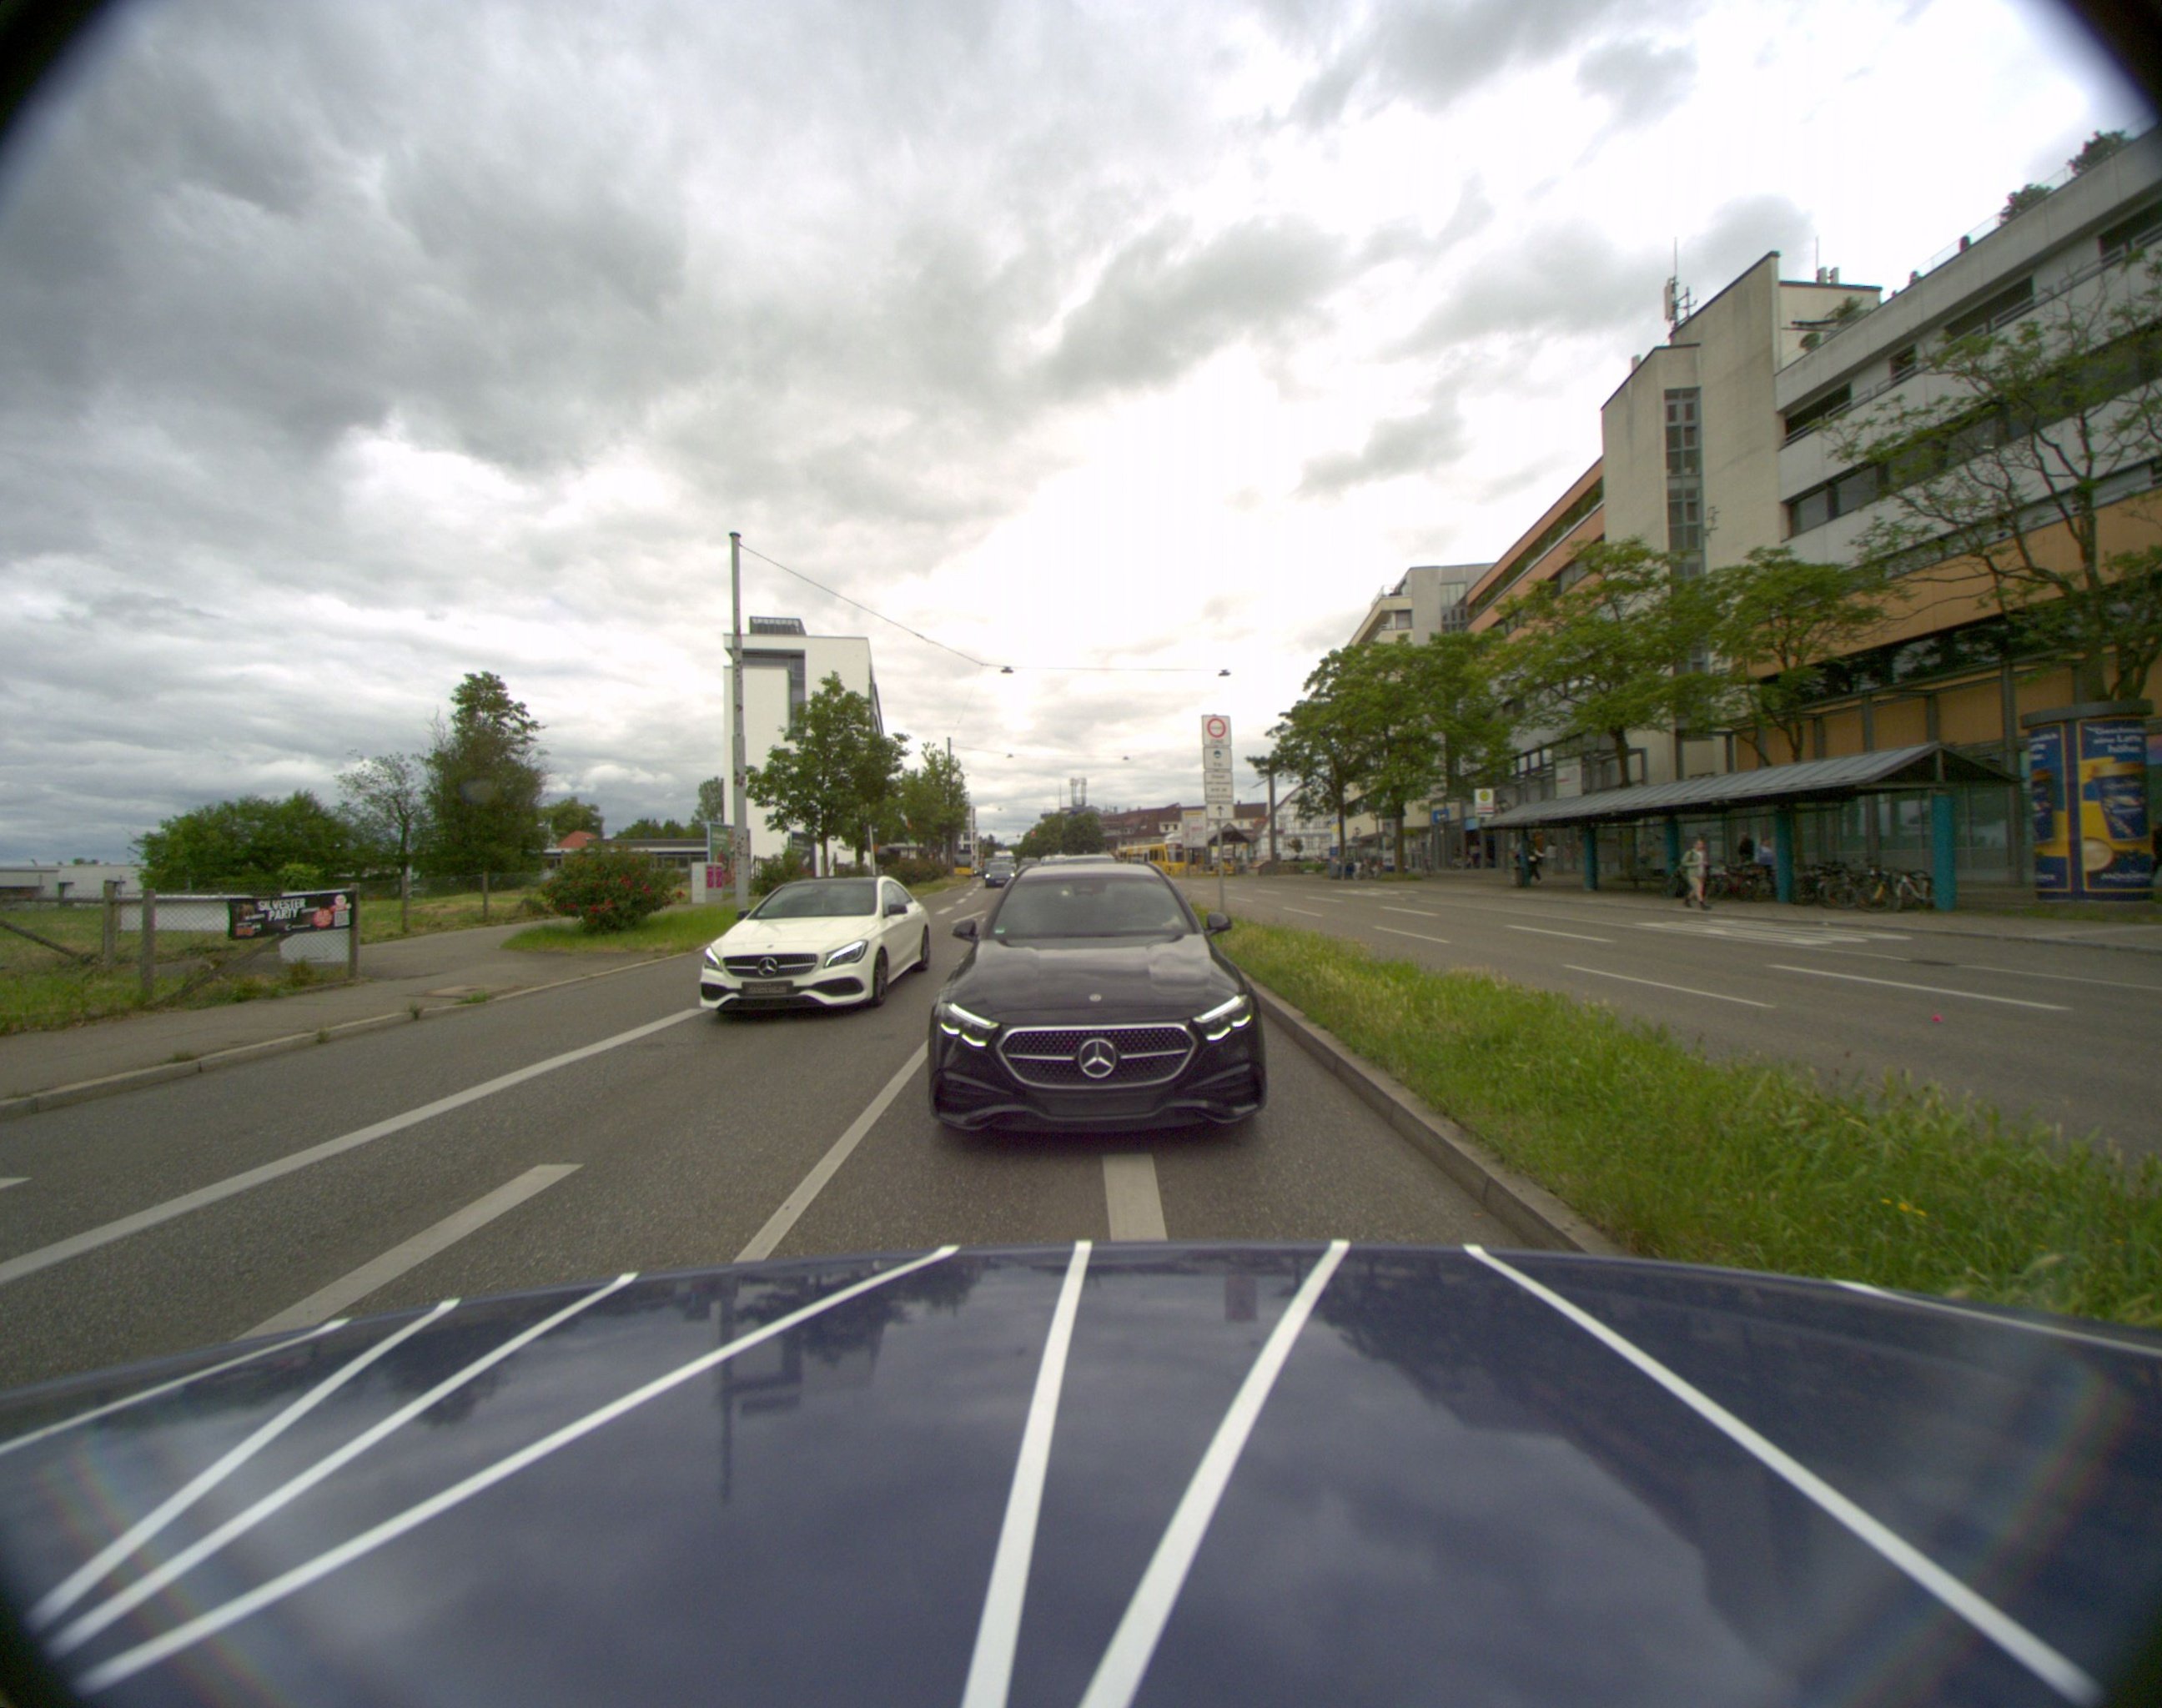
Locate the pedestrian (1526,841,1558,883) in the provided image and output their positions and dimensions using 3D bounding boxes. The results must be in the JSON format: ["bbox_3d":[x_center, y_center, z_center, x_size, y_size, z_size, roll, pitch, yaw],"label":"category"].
[{"bbox_3d":[19.238,0.323,31.711,0.777,1.703,0.706,-3,0,-6],"label":"pedestrian"}]

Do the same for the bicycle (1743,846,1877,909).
[{"bbox_3d":[18.403,0.574,19.187,2.908,1.498,0.805,-1,0,-8],"label":"bicycle"}]

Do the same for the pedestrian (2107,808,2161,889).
[{"bbox_3d":[27.054,-0.143,19.251,0.899,2.002,0.934,-1,1,-5],"label":"pedestrian"}]

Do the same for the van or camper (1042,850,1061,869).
[{"bbox_3d":[-4.409,0.829,111.758,2.000,2.582,6.111,1,-1,-9],"label":"van or camper"}]

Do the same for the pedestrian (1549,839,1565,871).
[{"bbox_3d":[24.062,0.040,38.433,0.633,1.591,0.624,-3,0,31],"label":"pedestrian"}]

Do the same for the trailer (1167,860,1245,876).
[{"bbox_3d":[11.040,1.270,68.845,2.851,1.325,12.115,-1,-1,-12],"label":"trailer"}]

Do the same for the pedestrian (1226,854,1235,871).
[{"bbox_3d":[13.734,0.805,69.802,0.601,1.564,0.620,-1,0,-10],"label":"pedestrian"}]

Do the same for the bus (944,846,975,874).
[{"bbox_3d":[-14.547,0.752,90.395,3.047,3.216,9.329,-1,-1,-12],"label":"bus"}]

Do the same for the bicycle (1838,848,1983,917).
[{"bbox_3d":[18.890,0.628,17.318,2.908,1.498,0.700,-1,0,-8],"label":"bicycle"}]

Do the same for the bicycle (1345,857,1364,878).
[{"bbox_3d":[15.335,0.732,42.590,0.603,1.154,1.969,-1,-1,32],"label":"bicycle"}]

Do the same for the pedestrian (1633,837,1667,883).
[{"bbox_3d":[21.799,0.227,29.129,0.774,1.706,0.787,-3,0,17],"label":"pedestrian"}]

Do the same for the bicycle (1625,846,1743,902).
[{"bbox_3d":[17.960,0.577,22.643,2.908,1.498,0.972,-3,0,-8],"label":"bicycle"}]

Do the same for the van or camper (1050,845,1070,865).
[{"bbox_3d":[-2.904,0.157,103.486,2.039,2.582,6.112,1,-1,-7],"label":"van or camper"}]

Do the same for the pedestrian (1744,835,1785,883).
[{"bbox_3d":[23.165,0.169,25.764,0.668,1.574,0.706,-3,0,-6],"label":"pedestrian"}]

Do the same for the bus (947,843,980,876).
[{"bbox_3d":[-12.657,0.596,81.156,2.993,3.222,9.856,-1,-1,-12],"label":"bus"}]

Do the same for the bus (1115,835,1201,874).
[{"bbox_3d":[8.010,0.172,84.306,3.891,3.836,19.324,-1,-1,-12],"label":"bus"}]

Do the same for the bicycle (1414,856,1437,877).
[{"bbox_3d":[19.155,0.682,42.253,0.672,1.154,2.023,-1,-1,39],"label":"bicycle"}]

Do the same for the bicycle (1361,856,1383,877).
[{"bbox_3d":[16.445,0.705,42.939,0.604,1.154,1.966,-1,-1,4],"label":"bicycle"}]

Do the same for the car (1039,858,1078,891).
[{"bbox_3d":[-1.065,0.949,37.450,1.735,1.474,4.369,-2,0,0],"label":"car"}]

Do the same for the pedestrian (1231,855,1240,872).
[{"bbox_3d":[14.380,0.867,70.668,0.601,1.564,0.620,-1,0,-10],"label":"pedestrian"}]

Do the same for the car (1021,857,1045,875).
[{"bbox_3d":[-4.236,1.062,67.648,1.735,1.544,4.369,-2,0,0],"label":"car"}]

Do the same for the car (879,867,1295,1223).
[{"bbox_3d":[-0.031,0.942,6.001,1.873,1.542,4.773,-4,-1,-2],"label":"car"}]

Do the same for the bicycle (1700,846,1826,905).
[{"bbox_3d":[18.256,0.553,20.357,2.908,1.498,0.811,-1,0,-7],"label":"bicycle"}]

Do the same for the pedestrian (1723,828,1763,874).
[{"bbox_3d":[25.534,-0.100,29.308,0.772,1.706,0.789,-3,0,-8],"label":"pedestrian"}]

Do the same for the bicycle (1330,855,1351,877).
[{"bbox_3d":[14.790,0.667,43.288,0.603,1.154,1.969,-3,-1,33],"label":"bicycle"}]

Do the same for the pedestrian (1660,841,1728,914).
[{"bbox_3d":[15.976,0.594,19.835,0.705,1.812,1.213,-3,1,-3],"label":"pedestrian"}]

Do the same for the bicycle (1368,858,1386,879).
[{"bbox_3d":[16.164,0.790,41.499,0.603,1.154,1.693,-1,-1,31],"label":"bicycle"}]

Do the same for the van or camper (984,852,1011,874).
[{"bbox_3d":[-7.465,0.811,68.122,1.809,1.867,4.849,-2,0,0],"label":"van or camper"}]

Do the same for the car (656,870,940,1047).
[{"bbox_3d":[-3.107,1.037,9.564,1.873,1.496,4.772,-2,0,-2],"label":"car"}]

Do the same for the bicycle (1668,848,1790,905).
[{"bbox_3d":[18.111,0.619,21.261,2.908,1.498,0.891,-1,0,-8],"label":"bicycle"}]

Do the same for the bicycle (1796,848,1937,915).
[{"bbox_3d":[18.751,0.640,18.156,2.908,1.498,0.778,-1,0,-8],"label":"bicycle"}]

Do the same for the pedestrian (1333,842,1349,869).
[{"bbox_3d":[18.043,0.100,52.690,0.747,1.866,0.873,-1,0,-8],"label":"pedestrian"}]

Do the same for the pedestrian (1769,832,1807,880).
[{"bbox_3d":[23.861,0.067,25.645,0.634,1.591,0.622,-3,0,-5],"label":"pedestrian"}]

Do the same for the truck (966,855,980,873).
[{"bbox_3d":[-25.305,2.406,177.788,2.948,3.934,9.158,1,-1,-10],"label":"truck"}]

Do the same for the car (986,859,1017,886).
[{"bbox_3d":[-4.784,1.102,45.740,1.736,1.474,4.367,-2,0,-6],"label":"car"}]

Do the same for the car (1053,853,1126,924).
[{"bbox_3d":[0.217,0.864,20.743,1.735,1.680,4.369,-2,0,0],"label":"car"}]

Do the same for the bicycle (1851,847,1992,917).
[{"bbox_3d":[18.922,0.619,17.112,2.908,1.498,0.598,-1,0,-8],"label":"bicycle"}]
